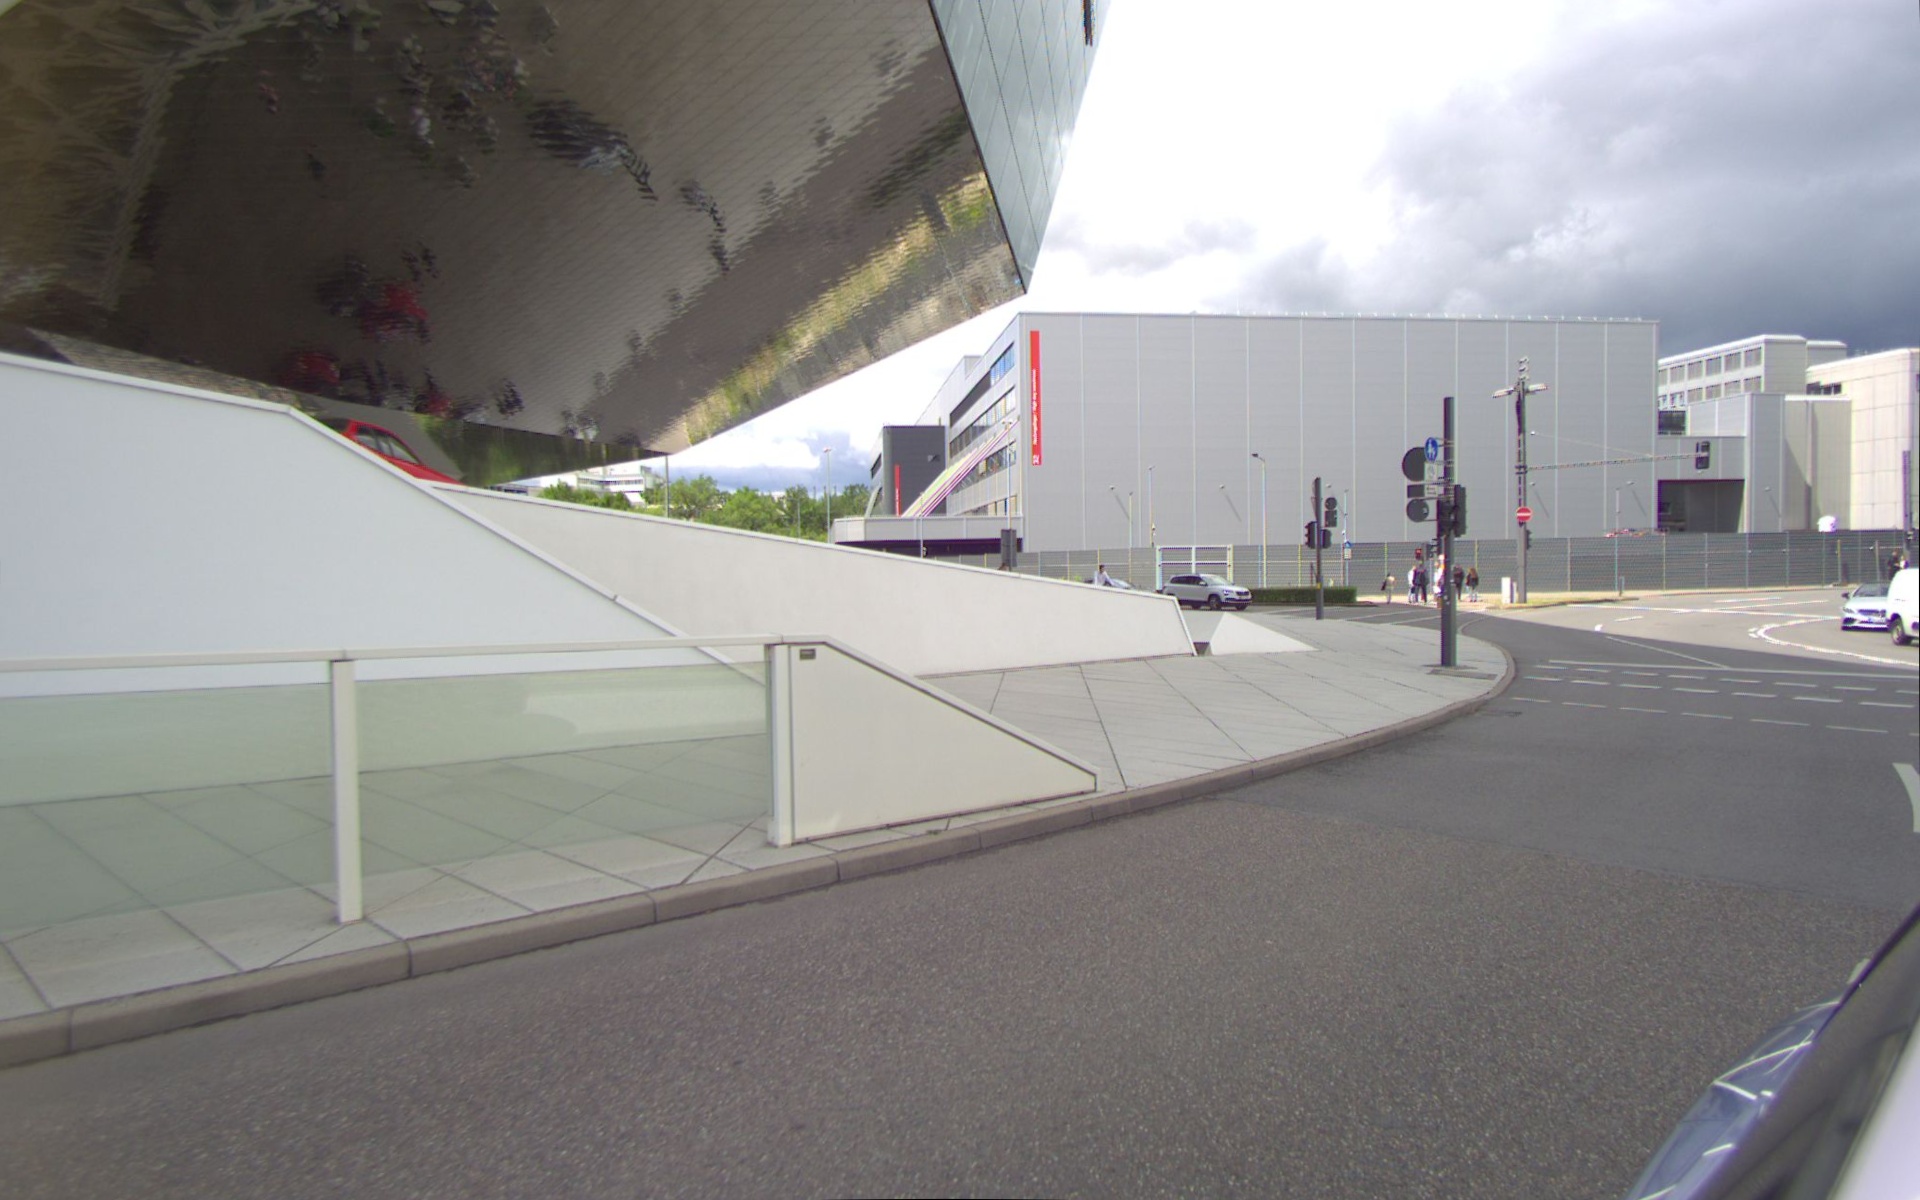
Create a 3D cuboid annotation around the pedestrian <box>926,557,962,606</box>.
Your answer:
[{"bbox_3d":[-0.576,-0.649,36.067,0.827,1.697,0.909,-1,2,44],"label":"pedestrian"}]

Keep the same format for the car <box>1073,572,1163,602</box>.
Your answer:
[{"bbox_3d":[7.639,-0.623,49.082,1.806,1.400,4.152,-2,1,-40],"label":"car"}]

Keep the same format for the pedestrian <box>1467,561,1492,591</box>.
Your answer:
[{"bbox_3d":[28.467,-1.320,55.448,0.903,1.605,0.696,-3,1,-5],"label":"pedestrian"}]

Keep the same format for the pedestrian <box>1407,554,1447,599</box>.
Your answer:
[{"bbox_3d":[21.280,-1.062,46.103,1.352,2.010,0.958,-1,1,-21],"label":"pedestrian"}]

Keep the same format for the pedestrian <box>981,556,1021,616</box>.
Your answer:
[{"bbox_3d":[1.319,-0.448,32.618,0.827,1.848,0.909,-1,2,44],"label":"pedestrian"}]

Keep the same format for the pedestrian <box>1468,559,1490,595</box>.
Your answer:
[{"bbox_3d":[24.461,-1.102,47.730,0.660,1.658,0.620,-3,1,0],"label":"pedestrian"}]

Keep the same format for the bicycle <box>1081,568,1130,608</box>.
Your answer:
[{"bbox_3d":[4.937,-0.407,34.447,0.764,1.289,1.930,-3,2,-20],"label":"bicycle"}]

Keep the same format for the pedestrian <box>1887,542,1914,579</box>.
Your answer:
[{"bbox_3d":[49.309,-2.094,53.060,0.779,1.889,0.661,-3,1,6],"label":"pedestrian"}]

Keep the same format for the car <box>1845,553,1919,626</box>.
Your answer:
[{"bbox_3d":[28.065,-0.373,29.545,4.617,1.979,1.876,-2,3,-29],"label":"car"}]

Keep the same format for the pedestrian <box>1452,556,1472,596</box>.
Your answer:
[{"bbox_3d":[23.653,-1.136,47.728,0.610,1.816,0.671,-2,1,9],"label":"pedestrian"}]

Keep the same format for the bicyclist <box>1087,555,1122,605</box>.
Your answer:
[{"bbox_3d":[4.910,-0.685,34.519,0.756,1.673,0.939,-3,2,-21],"label":"bicyclist"}]

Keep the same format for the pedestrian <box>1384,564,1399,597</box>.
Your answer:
[{"bbox_3d":[20.644,-0.931,48.442,0.576,1.514,0.767,-2,2,20],"label":"pedestrian"}]

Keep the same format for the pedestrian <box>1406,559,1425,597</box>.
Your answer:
[{"bbox_3d":[21.762,-1.075,48.318,0.610,1.781,0.606,-3,1,9],"label":"pedestrian"}]

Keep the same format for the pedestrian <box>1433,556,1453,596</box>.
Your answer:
[{"bbox_3d":[22.843,-1.137,47.830,0.609,1.869,0.672,-3,1,7],"label":"pedestrian"}]

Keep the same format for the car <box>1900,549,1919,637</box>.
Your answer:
[{"bbox_3d":[22.644,-0.125,22.107,1.807,2.038,4.355,0,2,25],"label":"car"}]

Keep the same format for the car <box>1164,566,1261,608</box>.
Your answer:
[{"bbox_3d":[10.903,-0.615,43.903,1.803,1.568,4.005,-4,4,-31],"label":"car"}]

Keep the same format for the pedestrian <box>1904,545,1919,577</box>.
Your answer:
[{"bbox_3d":[50.040,-2.023,53.007,0.651,1.635,0.465,-3,1,4],"label":"pedestrian"}]

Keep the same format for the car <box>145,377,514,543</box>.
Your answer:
[{"bbox_3d":[-8.678,-1.845,14.538,1.967,1.414,4.497,3,-4,9],"label":"car"}]
